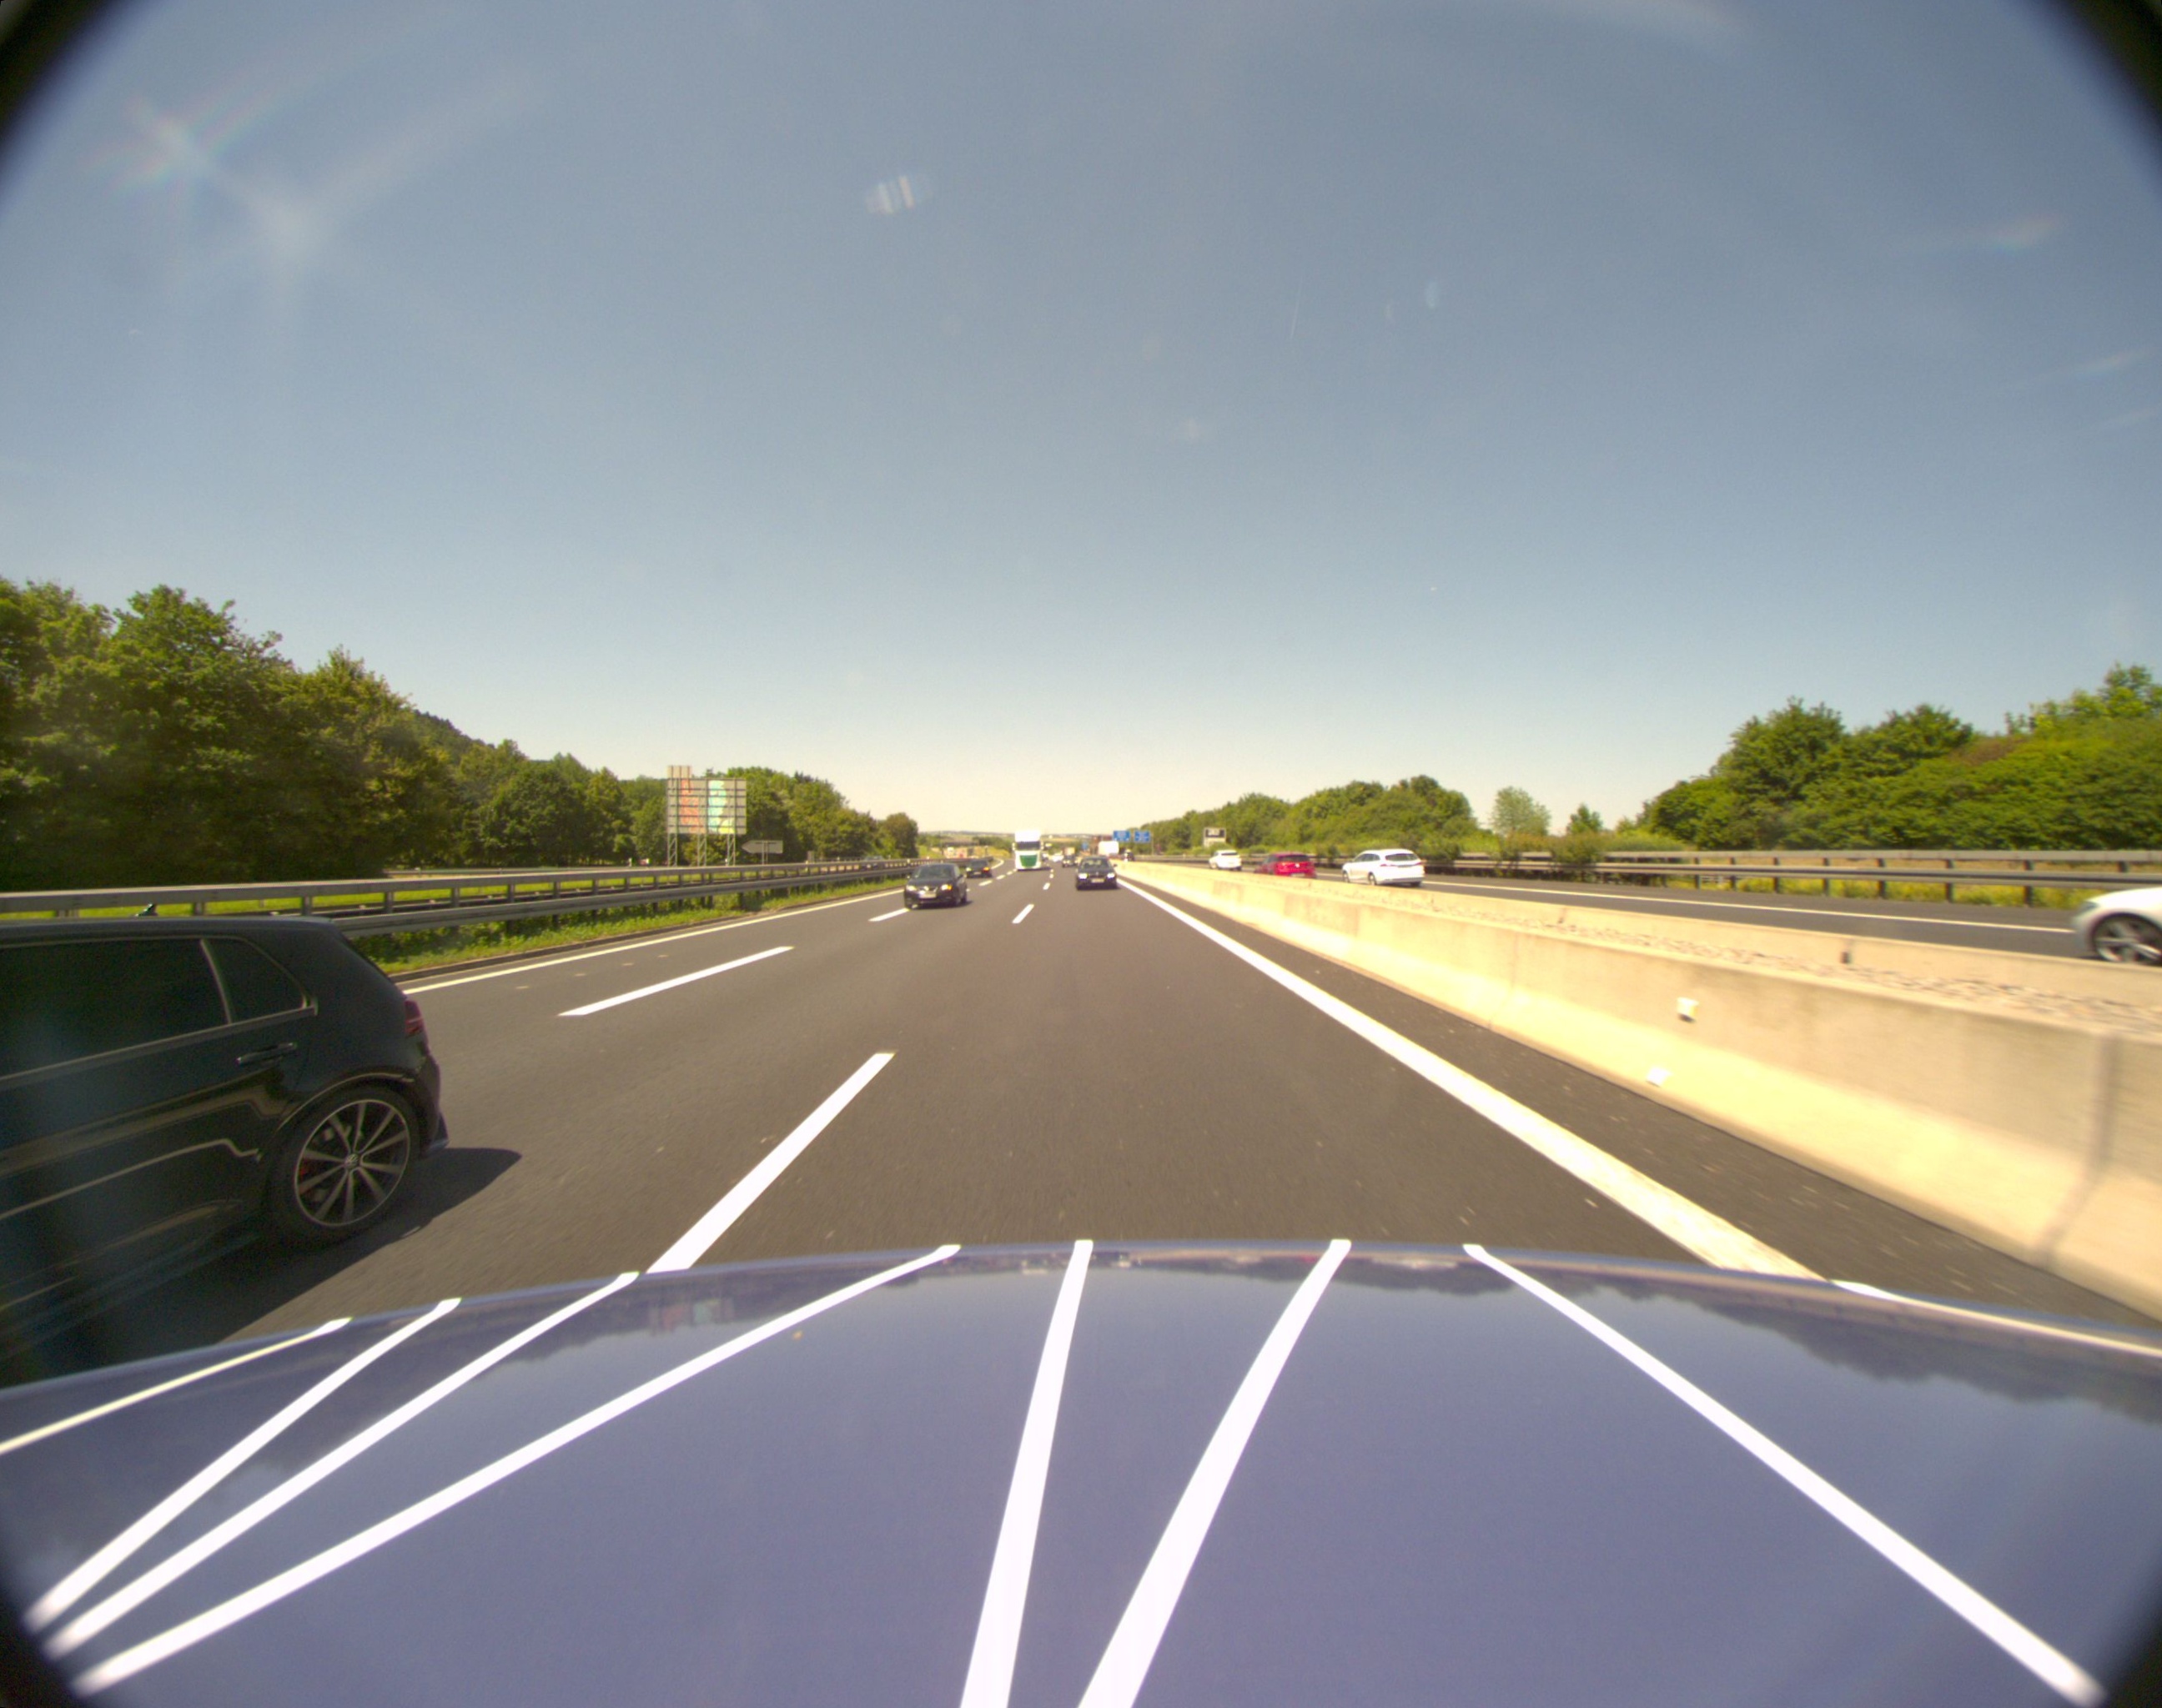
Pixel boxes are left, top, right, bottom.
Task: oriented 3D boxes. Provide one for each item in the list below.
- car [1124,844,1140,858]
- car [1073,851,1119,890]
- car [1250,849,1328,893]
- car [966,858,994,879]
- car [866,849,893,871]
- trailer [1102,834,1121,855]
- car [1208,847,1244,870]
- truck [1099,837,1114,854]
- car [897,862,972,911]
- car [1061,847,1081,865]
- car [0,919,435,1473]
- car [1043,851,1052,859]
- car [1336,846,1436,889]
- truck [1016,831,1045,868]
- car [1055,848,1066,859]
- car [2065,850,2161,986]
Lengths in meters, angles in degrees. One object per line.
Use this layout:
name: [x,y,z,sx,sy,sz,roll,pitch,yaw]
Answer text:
car: [7.839,-0.411,117.999,1.999,2.069,4.702,-1,0,-2]
car: [0.707,0.698,33.867,1.798,1.574,4.001,-1,1,4]
car: [8.527,0.649,31.584,1.998,1.649,4.633,-1,1,0]
car: [-7.780,1.063,58.723,1.892,1.464,3.865,-1,1,-4]
car: [-18.679,0.549,70.471,2.000,2.002,3.997,0,0,-9]
trailer: [6.380,-2.026,162.269,2.725,4.287,12.817,-1,1,-4]
car: [11.265,0.299,59.294,1.873,1.656,4.662,-1,1,-1]
truck: [5.773,-1.856,171.068,2.757,3.733,4.863,-1,1,-4]
car: [-4.770,1.032,25.253,1.781,1.392,3.760,-1,1,0]
car: [-1.192,0.228,88.141,1.999,2.002,3.998,-1,1,-5]
car: [-3.964,1.062,1.598,1.799,1.427,3.965,-1,1,-1]
car: [-8.293,0.287,188.763,1.884,1.836,3.999,0,0,-1]
car: [12.177,0.475,30.705,1.998,1.535,5.040,-1,1,0]
truck: [-5.127,-0.499,76.601,2.650,3.572,4.401,-1,1,-5]
car: [-3.609,-0.083,132.884,1.925,2.002,3.999,0,0,-3]
car: [12.254,0.653,6.747,1.855,1.386,4.000,-3,0,1]
